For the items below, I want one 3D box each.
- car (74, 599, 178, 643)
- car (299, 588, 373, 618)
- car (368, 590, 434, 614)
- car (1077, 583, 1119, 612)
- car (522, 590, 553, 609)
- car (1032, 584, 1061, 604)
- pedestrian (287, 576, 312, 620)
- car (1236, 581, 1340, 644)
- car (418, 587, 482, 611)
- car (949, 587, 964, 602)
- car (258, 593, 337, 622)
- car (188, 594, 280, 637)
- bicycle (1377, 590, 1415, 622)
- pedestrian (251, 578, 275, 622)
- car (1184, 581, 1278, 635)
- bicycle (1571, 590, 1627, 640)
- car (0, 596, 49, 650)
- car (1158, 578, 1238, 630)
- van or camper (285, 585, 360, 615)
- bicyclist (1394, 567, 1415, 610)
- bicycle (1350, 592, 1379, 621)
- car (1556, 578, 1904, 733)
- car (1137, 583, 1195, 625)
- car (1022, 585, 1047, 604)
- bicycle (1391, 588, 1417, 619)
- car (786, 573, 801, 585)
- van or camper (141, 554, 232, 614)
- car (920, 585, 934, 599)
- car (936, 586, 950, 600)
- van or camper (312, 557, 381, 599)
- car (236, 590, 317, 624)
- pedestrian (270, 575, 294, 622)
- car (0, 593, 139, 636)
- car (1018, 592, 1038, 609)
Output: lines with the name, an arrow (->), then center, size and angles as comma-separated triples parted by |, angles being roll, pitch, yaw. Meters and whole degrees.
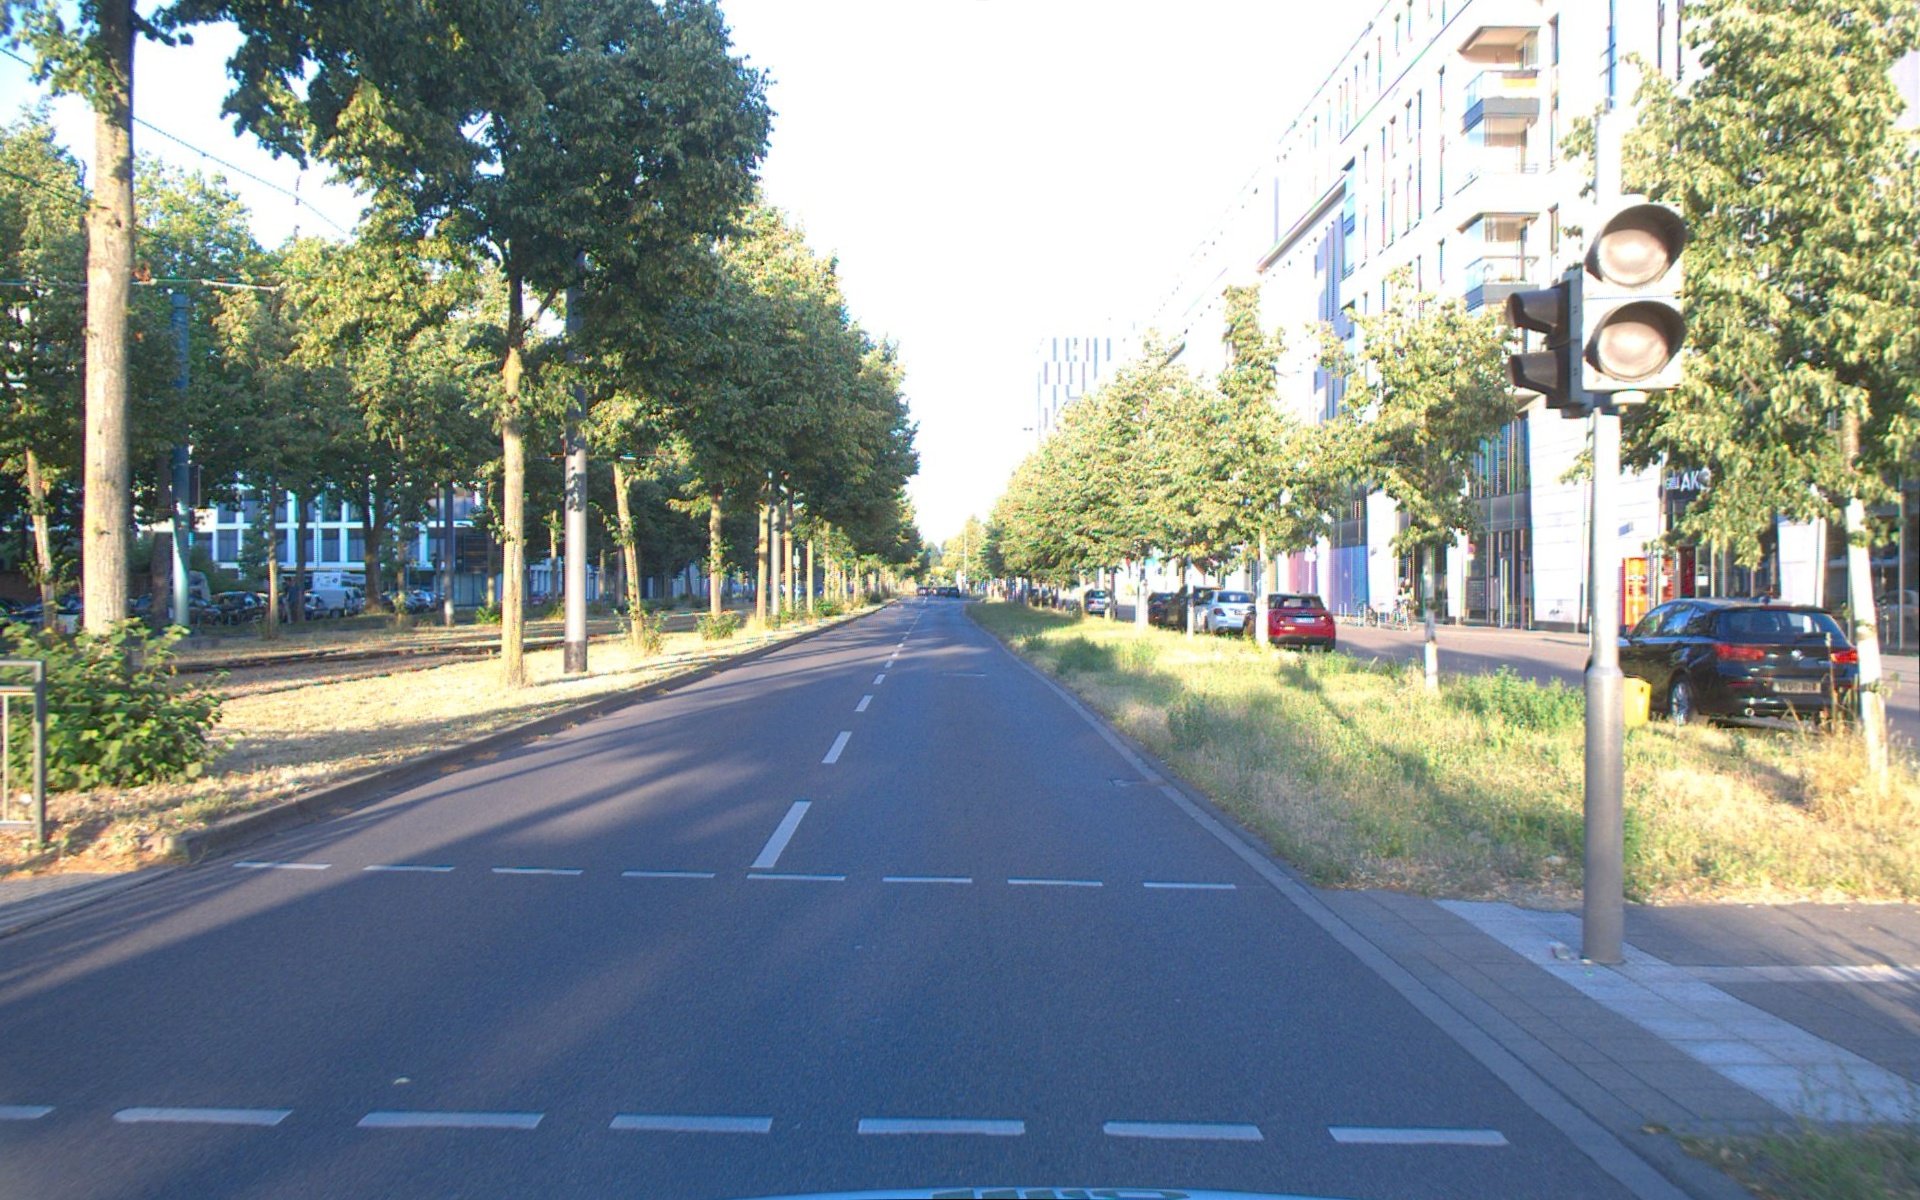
car -> -31.363, 0.784, 62.308 | 1.765, 1.588, 3.840 | 0, 0, 4
car -> -39.105, 0.196, 103.709 | 3.905, 1.877, 2.012 | 0, 0, -1
car -> -38.492, 0.141, 114.005 | 3.908, 1.668, 1.920 | 0, 0, -4
car -> 7.540, -0.170, 90.794 | 1.772, 1.527, 4.824 | 0, 1, -2
car -> -36.954, -0.031, 144.759 | 1.822, 1.609, 3.492 | 0, 0, 0
car -> 7.006, -0.513, 134.742 | 1.905, 1.576, 4.809 | 0, 0, -3
pedestrian -> -26.825, -0.093, 67.211 | 0.679, 1.773, 0.866 | 0, 0, -3
car -> 8.285, 0.288, 42.093 | 1.772, 1.527, 3.958 | 0, 1, -2
car -> -35.953, -0.086, 116.680 | 3.908, 1.668, 1.920 | 0, 0, -4
car -> -0.513, -0.724, 225.295 | 1.953, 2.049, 3.999 | 0, 1, -2
car -> -39.004, 0.422, 97.483 | 3.908, 1.668, 1.920 | 0, 0, -4
car -> -31.348, 0.645, 71.574 | 1.953, 1.780, 4.789 | 0, 0, -2
bicycle -> 14.741, 0.186, 55.986 | 0.607, 1.051, 2.260 | 0, 0, -2
pedestrian -> -28.310, 0.009, 67.181 | 0.680, 1.789, 0.864 | 0, 0, -8
car -> 8.070, 0.195, 49.652 | 1.882, 1.527, 5.008 | 0, 1, -2
bicycle -> 15.358, 0.342, 39.809 | 0.535, 1.148, 1.867 | -2, 0, -3
car -> -32.180, 0.755, 54.353 | 1.951, 1.780, 4.162 | 0, 0, 4
car -> 8.174, 0.116, 57.243 | 1.914, 1.652, 4.819 | 2, 0, -2
van or camper -> -38.690, -0.009, 100.500 | 3.916, 1.822, 1.995 | 0, 0, -11
bicyclist -> 16.486, -0.432, 61.402 | 0.533, 1.596, 1.020 | 0, 0, 2
bicycle -> 15.027, 0.231, 61.528 | 0.523, 1.078, 1.610 | 0, 0, -6
car -> 8.403, 0.527, 18.531 | 1.772, 1.527, 4.367 | 0, 1, -2
car -> 8.019, 0.127, 64.622 | 1.689, 1.527, 4.232 | 1, 1, -1
car -> 6.339, -0.491, 141.787 | 1.817, 1.556, 4.482 | 1, 0, -1
bicycle -> 16.482, 0.136, 61.413 | 0.532, 1.137, 1.913 | 0, 0, 2
car -> -23.875, -2.984, 237.226 | 1.847, 1.605, 4.181 | 0, 0, -1
van or camper -> -37.532, -0.772, 80.398 | 2.043, 2.783, 5.492 | 0, 0, -2
car -> -4.775, -1.143, 237.091 | 2.045, 2.049, 3.999 | 0, 1, -2
car -> -2.446, -0.992, 242.183 | 1.953, 2.049, 4.000 | 0, 1, 0
van or camper -> -46.950, -1.658, 126.683 | 2.654, 3.139, 6.265 | 0, 0, 3
car -> -31.577, 0.298, 76.551 | 1.952, 1.512, 4.001 | 0, 0, 2
pedestrian -> -27.658, -0.054, 67.467 | 0.680, 1.903, 0.864 | 0, 0, -8
car -> -29.569, 0.442, 54.827 | 1.952, 1.338, 5.144 | 0, 0, 3
car -> 6.603, 0.022, 160.762 | 1.689, 1.556, 4.267 | 1, 0, -1
